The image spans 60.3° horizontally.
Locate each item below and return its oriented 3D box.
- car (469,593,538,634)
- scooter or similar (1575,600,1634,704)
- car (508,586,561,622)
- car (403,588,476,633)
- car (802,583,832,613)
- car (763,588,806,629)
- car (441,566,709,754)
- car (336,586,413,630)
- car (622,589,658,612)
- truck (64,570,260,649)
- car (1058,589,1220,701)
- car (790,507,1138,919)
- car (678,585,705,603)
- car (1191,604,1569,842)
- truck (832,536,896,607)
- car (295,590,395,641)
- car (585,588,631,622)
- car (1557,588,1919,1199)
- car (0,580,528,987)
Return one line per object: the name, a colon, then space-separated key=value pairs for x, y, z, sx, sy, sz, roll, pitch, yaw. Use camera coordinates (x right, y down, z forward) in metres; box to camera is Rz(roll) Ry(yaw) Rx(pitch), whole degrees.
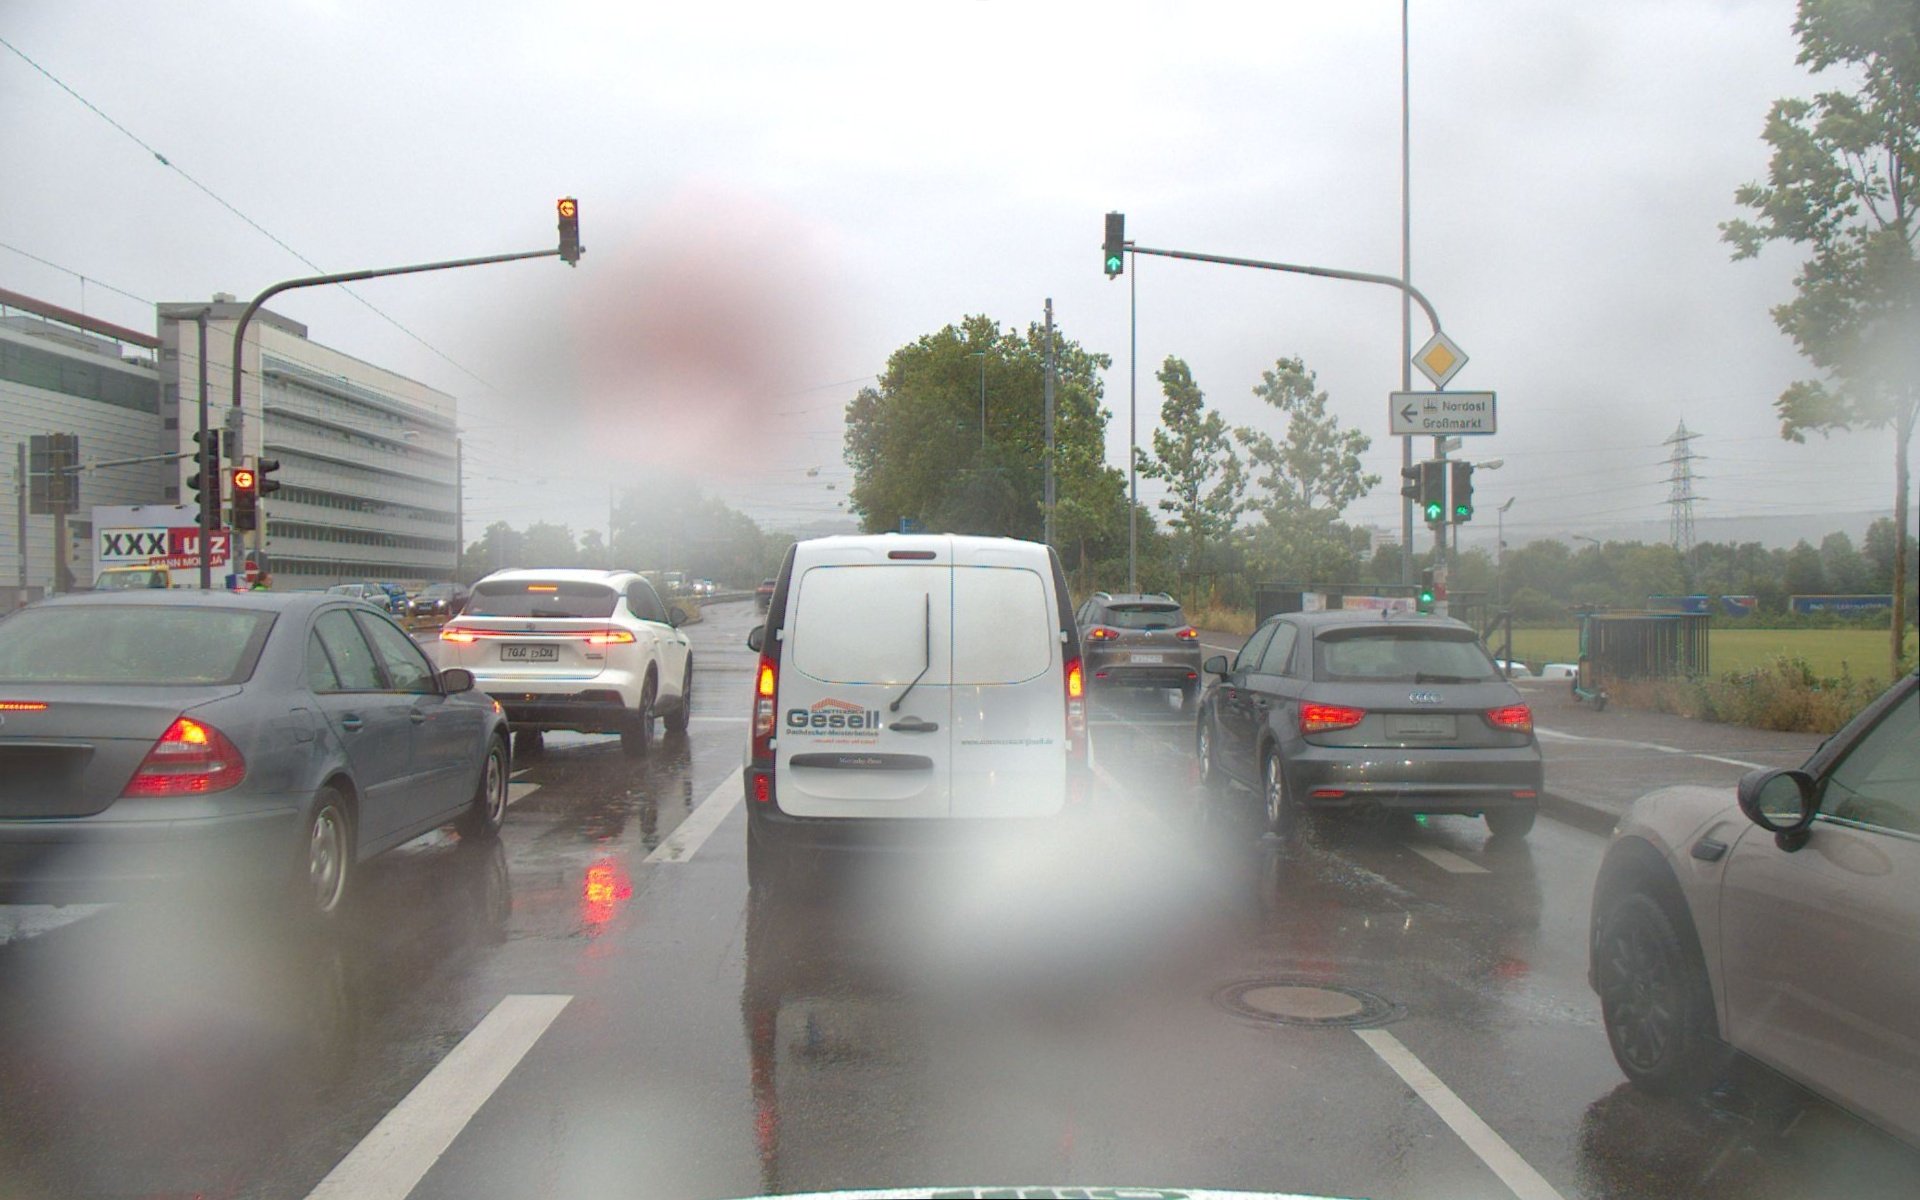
car: x=-21.568 y=0.641 z=78.245 sx=1.889 sy=1.859 sz=4.002 roll=1 pitch=0 yaw=4
scooter or similar: x=7.586 y=0.595 z=19.493 sx=0.240 sy=1.178 sz=1.186 roll=1 pitch=0 yaw=1
car: x=-25.353 y=0.244 z=98.610 sx=1.952 sy=2.049 sz=4.001 roll=1 pitch=0 yaw=2
car: x=-22.024 y=0.480 z=70.127 sx=1.808 sy=1.829 sz=3.999 roll=0 pitch=-2 yaw=0
car: x=-9.535 y=-0.127 z=110.418 sx=1.955 sy=1.892 sz=3.996 roll=1 pitch=1 yaw=-5
car: x=-8.430 y=0.416 z=79.045 sx=1.956 sy=1.892 sz=3.994 roll=1 pitch=0 yaw=-7
car: x=-3.563 y=0.481 z=16.067 sx=1.694 sy=1.562 sz=4.296 roll=1 pitch=1 yaw=-2
car: x=-25.018 y=0.378 z=70.815 sx=1.693 sy=1.690 sz=3.539 roll=1 pitch=-3 yaw=6
car: x=-22.441 y=0.023 z=116.127 sx=1.727 sy=1.577 sz=3.680 roll=1 pitch=0 yaw=1
truck: x=-25.224 y=0.302 z=52.747 sx=2.303 sy=2.319 sz=7.634 roll=1 pitch=0 yaw=2
car: x=2.520 y=0.591 z=24.144 sx=1.822 sy=1.453 sz=3.806 roll=1 pitch=1 yaw=-2
car: x=-0.007 y=0.506 z=9.357 sx=1.534 sy=1.819 sz=3.999 roll=0 pitch=0 yaw=-1
car: x=-26.887 y=-0.564 z=165.597 sx=1.952 sy=1.738 sz=4.000 roll=1 pitch=0 yaw=1
car: x=2.719 y=0.727 z=11.498 sx=1.596 sy=1.368 sz=3.622 roll=1 pitch=0 yaw=-2
truck: x=-4.145 y=-1.138 z=71.124 sx=2.580 sy=2.865 sz=7.140 roll=1 pitch=0 yaw=-4
car: x=-21.956 y=0.541 z=59.208 sx=1.853 sy=1.729 sz=4.001 roll=1 pitch=0 yaw=3
car: x=-22.024 y=0.333 z=103.532 sx=1.952 sy=2.049 sz=4.000 roll=1 pitch=0 yaw=1
car: x=2.916 y=0.755 z=3.796 sx=1.679 sy=1.534 sz=3.622 roll=1 pitch=0 yaw=-2
car: x=-3.578 y=0.661 z=8.136 sx=1.726 sy=1.423 sz=4.644 roll=1 pitch=-1 yaw=-1
